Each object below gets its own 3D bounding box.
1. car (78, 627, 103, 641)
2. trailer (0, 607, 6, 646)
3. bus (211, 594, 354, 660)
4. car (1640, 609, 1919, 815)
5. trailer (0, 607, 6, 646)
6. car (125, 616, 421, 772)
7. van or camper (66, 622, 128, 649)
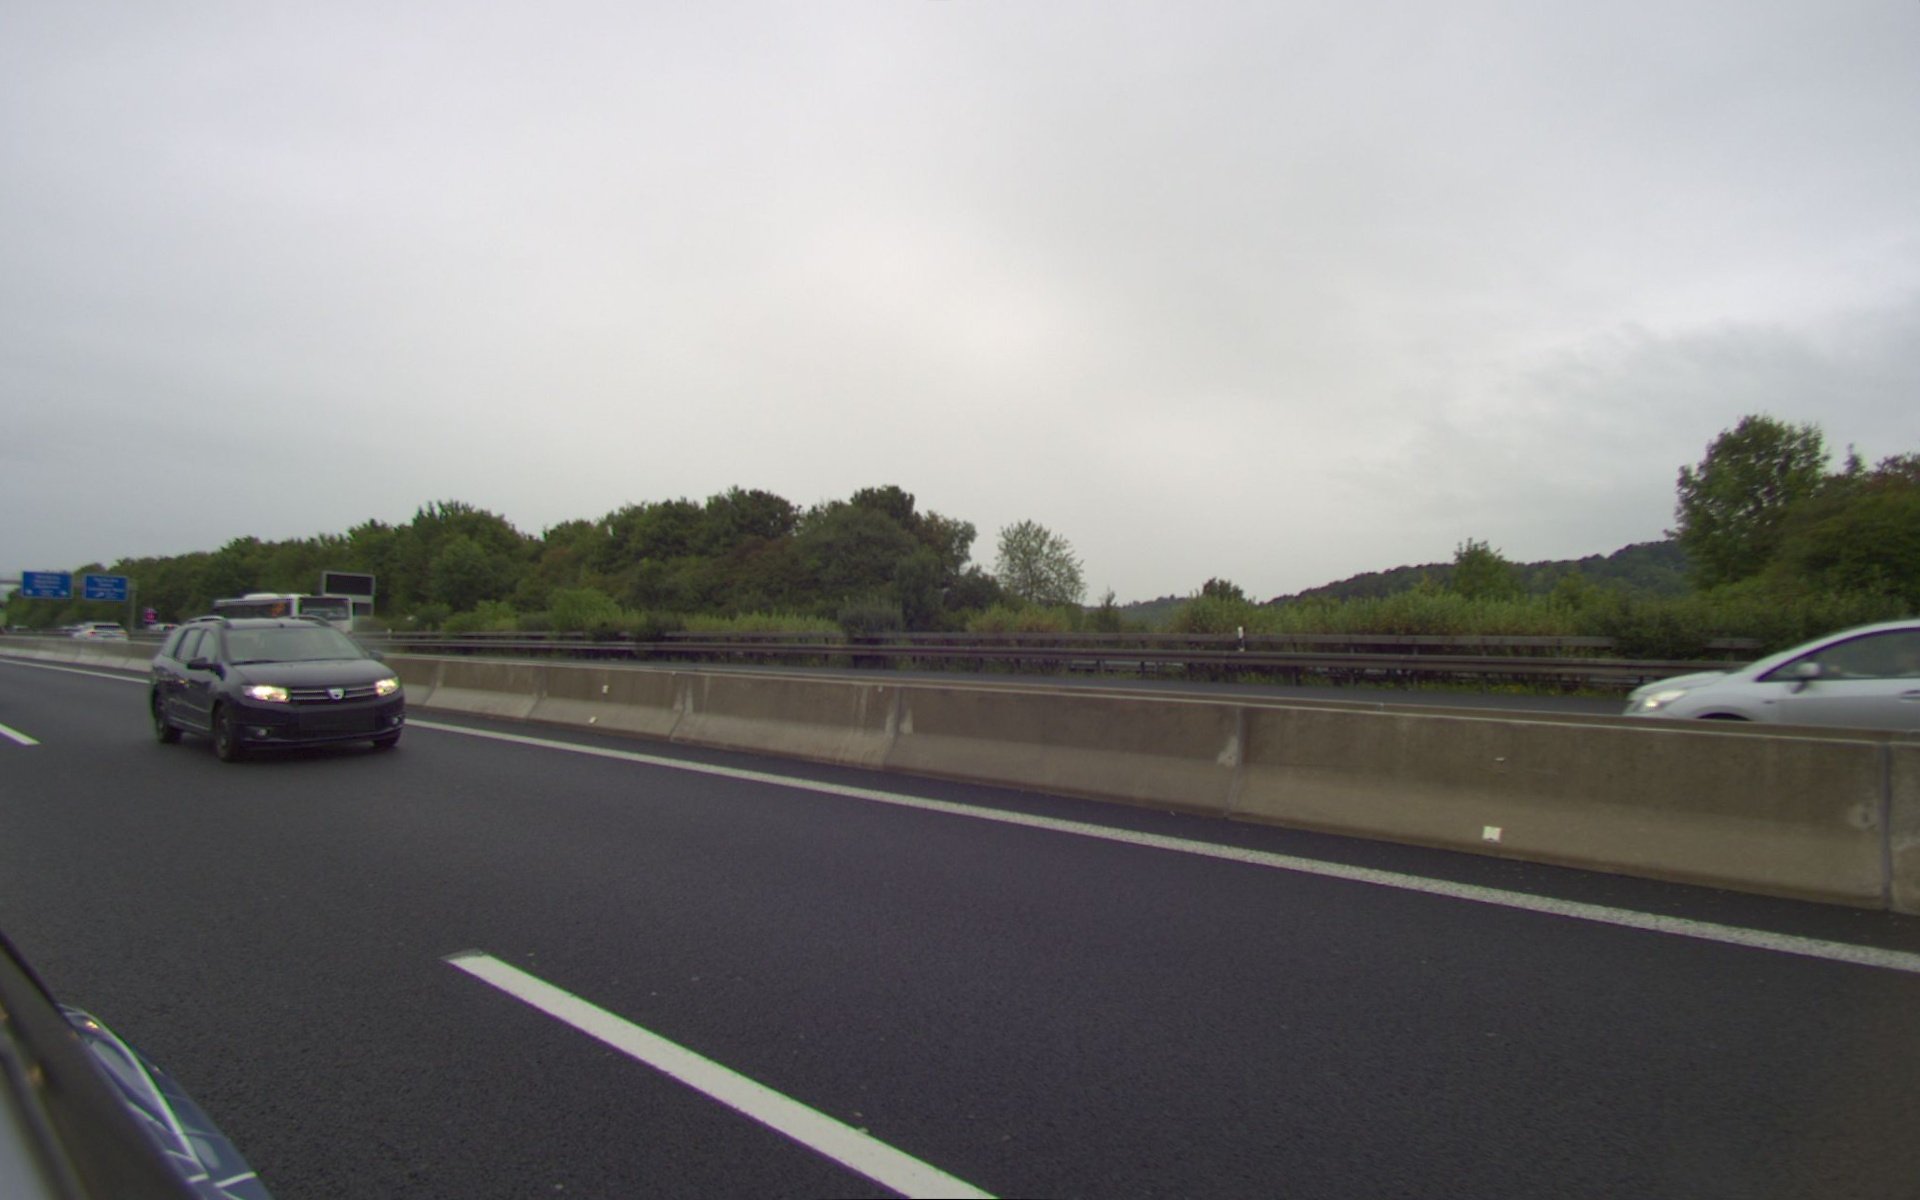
[{"bbox_3d":[-113.311,4.379,131.866,4.408,1.800,1.782,-1,-3,40],"label":"car"},{"bbox_3d":[-96.005,2.571,98.851,8.916,3.777,2.875,-1,-2,39],"label":"trailer"},{"bbox_3d":[-33.635,1.297,49.947,11.888,2.981,2.671,-1,-2,40],"label":"bus"},{"bbox_3d":[8.815,0.954,9.078,4.301,1.724,1.973,-1,-2,41],"label":"car"},{"bbox_3d":[-96.005,2.571,98.851,8.916,3.777,2.875,-1,-2,39],"label":"trailer"},{"bbox_3d":[-8.196,0.948,11.896,4.564,1.501,1.704,-1,-2,40],"label":"car"},{"bbox_3d":[-47.596,1.936,55.798,4.580,1.458,1.731,-1,-2,38],"label":"van or camper"}]
